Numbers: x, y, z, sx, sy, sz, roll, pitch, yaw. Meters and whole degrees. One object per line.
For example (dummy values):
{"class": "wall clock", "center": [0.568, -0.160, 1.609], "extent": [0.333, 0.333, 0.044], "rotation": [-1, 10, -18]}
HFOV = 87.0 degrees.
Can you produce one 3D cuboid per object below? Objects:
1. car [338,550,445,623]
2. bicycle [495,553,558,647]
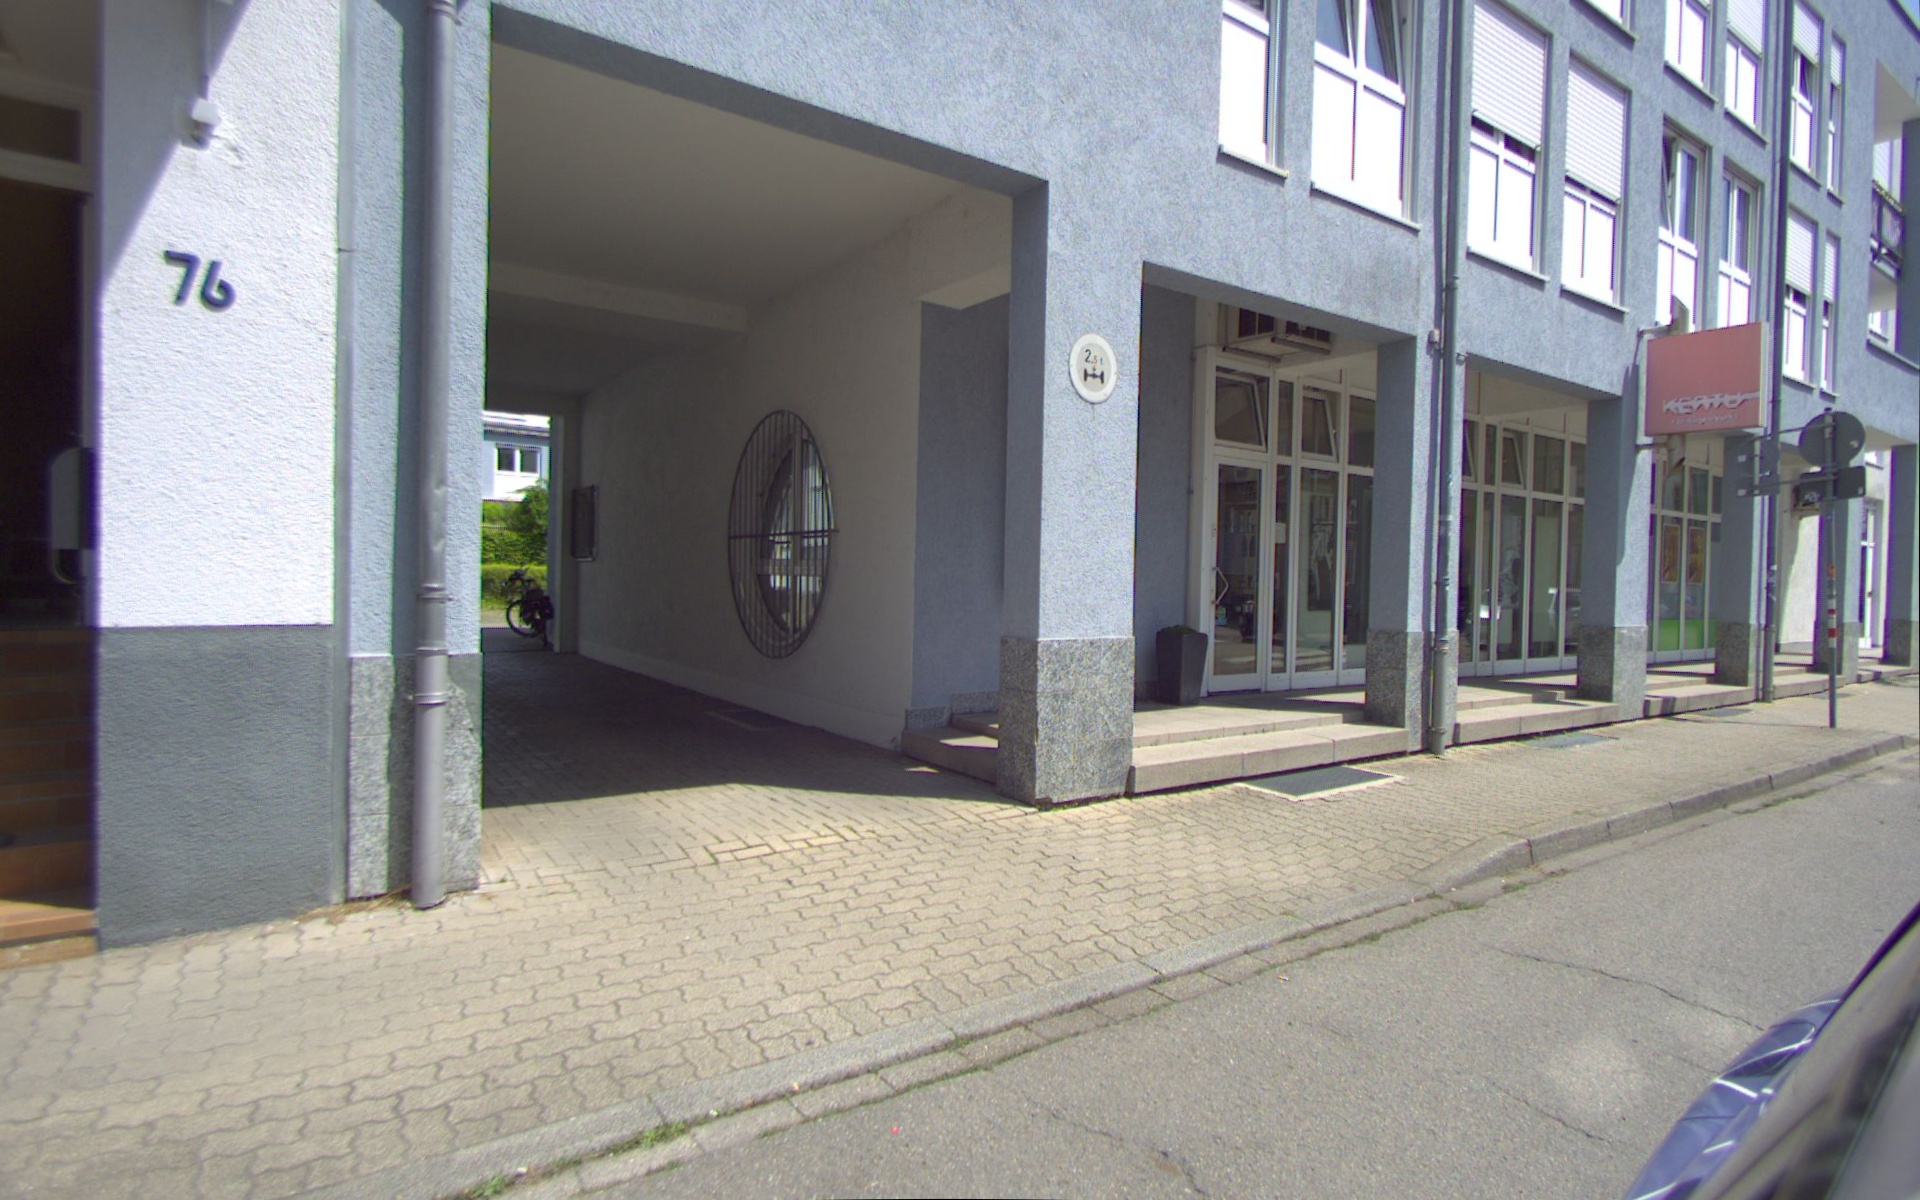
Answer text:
{"class": "car", "center": [-12.765, -0.325, 22.610], "extent": [1.735, 1.438, 4.002], "rotation": [2, 1, -34]}
{"class": "bicycle", "center": [-7.050, -0.032, 16.426], "extent": [0.550, 1.387, 1.719], "rotation": [0, 4, -36]}
